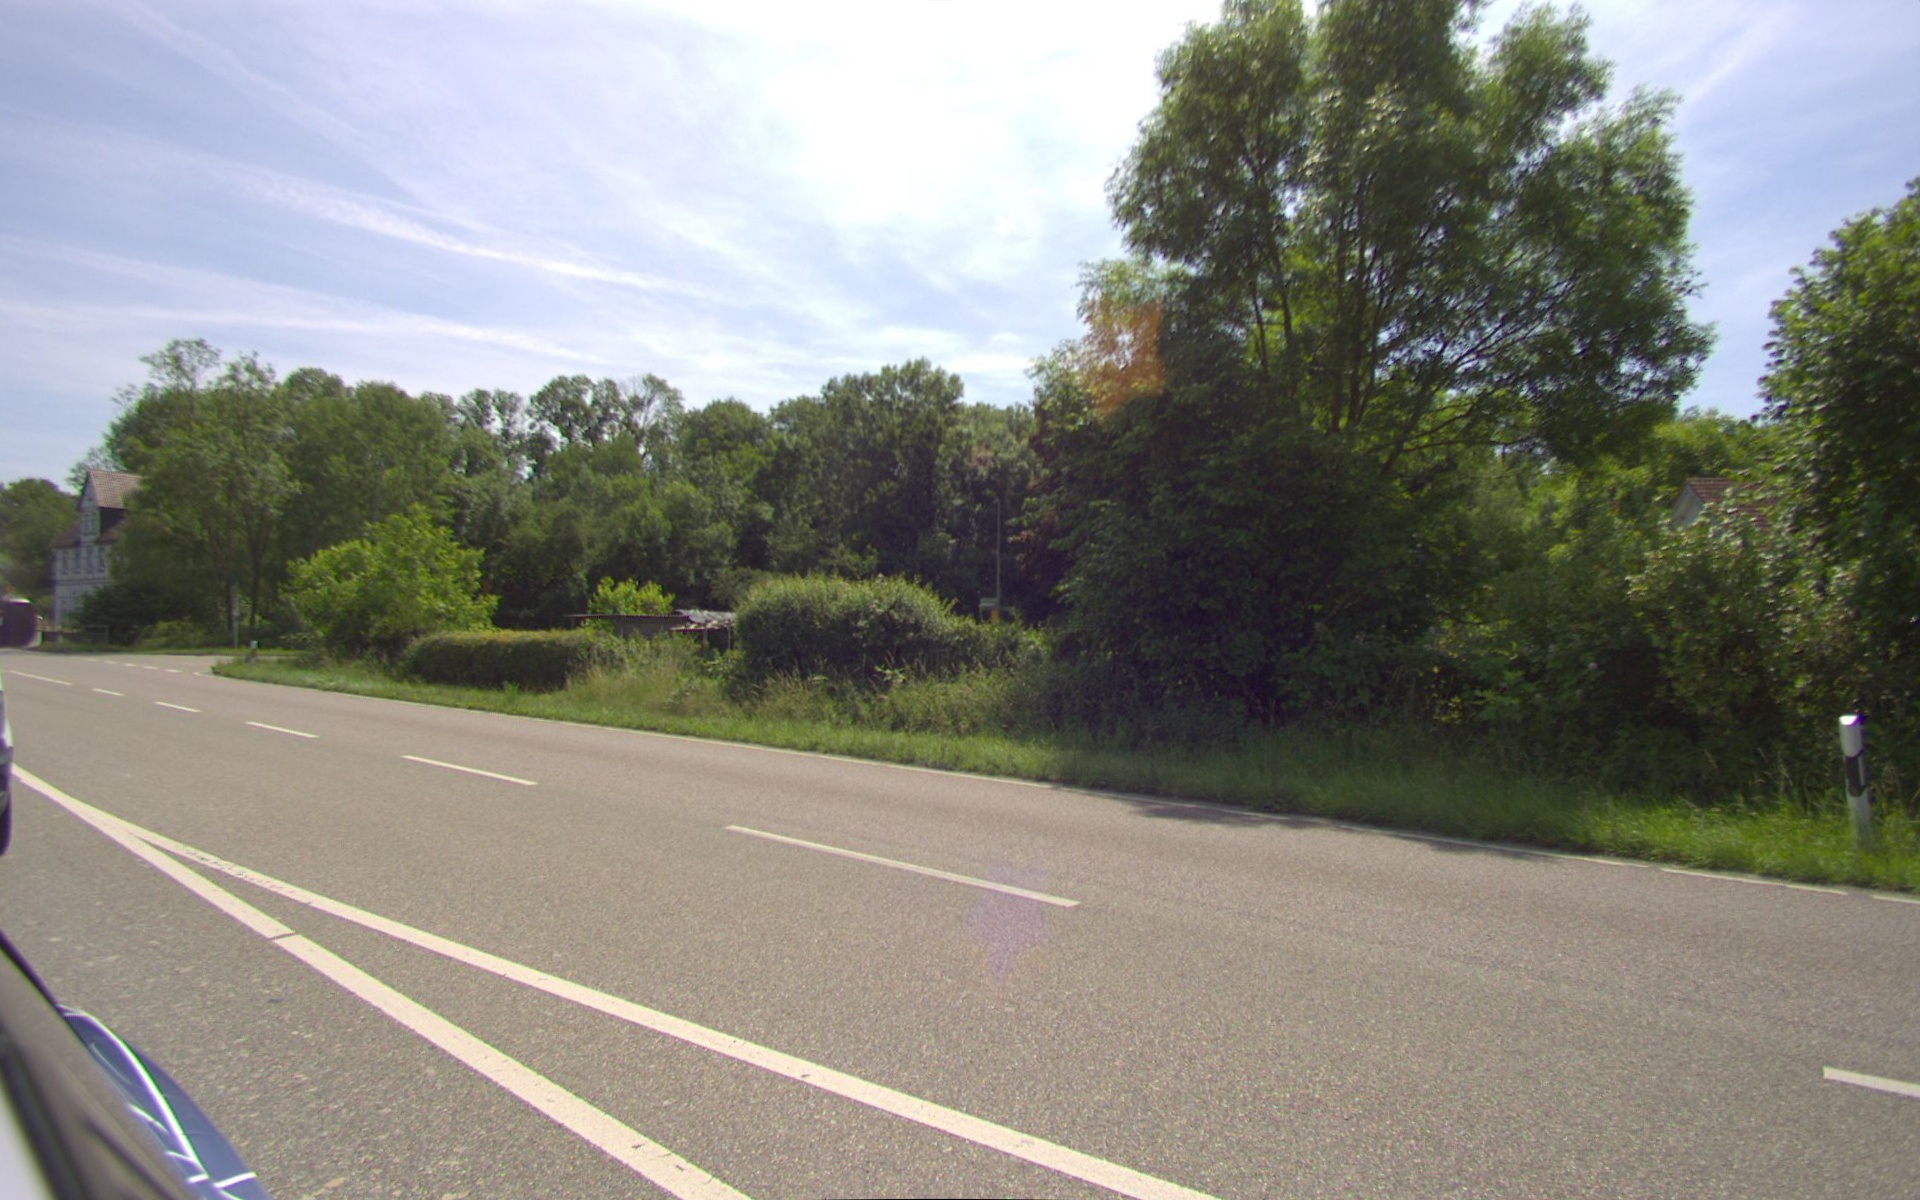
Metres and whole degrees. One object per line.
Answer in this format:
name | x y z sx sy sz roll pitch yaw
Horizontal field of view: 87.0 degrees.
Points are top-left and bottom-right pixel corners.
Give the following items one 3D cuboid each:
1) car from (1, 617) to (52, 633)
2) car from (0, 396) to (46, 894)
car | -90.111 2.411 97.716 1.605 1.476 3.350 0 0 32
car | -7.877 0.287 6.632 5.674 2.691 1.937 -1 -1 39
